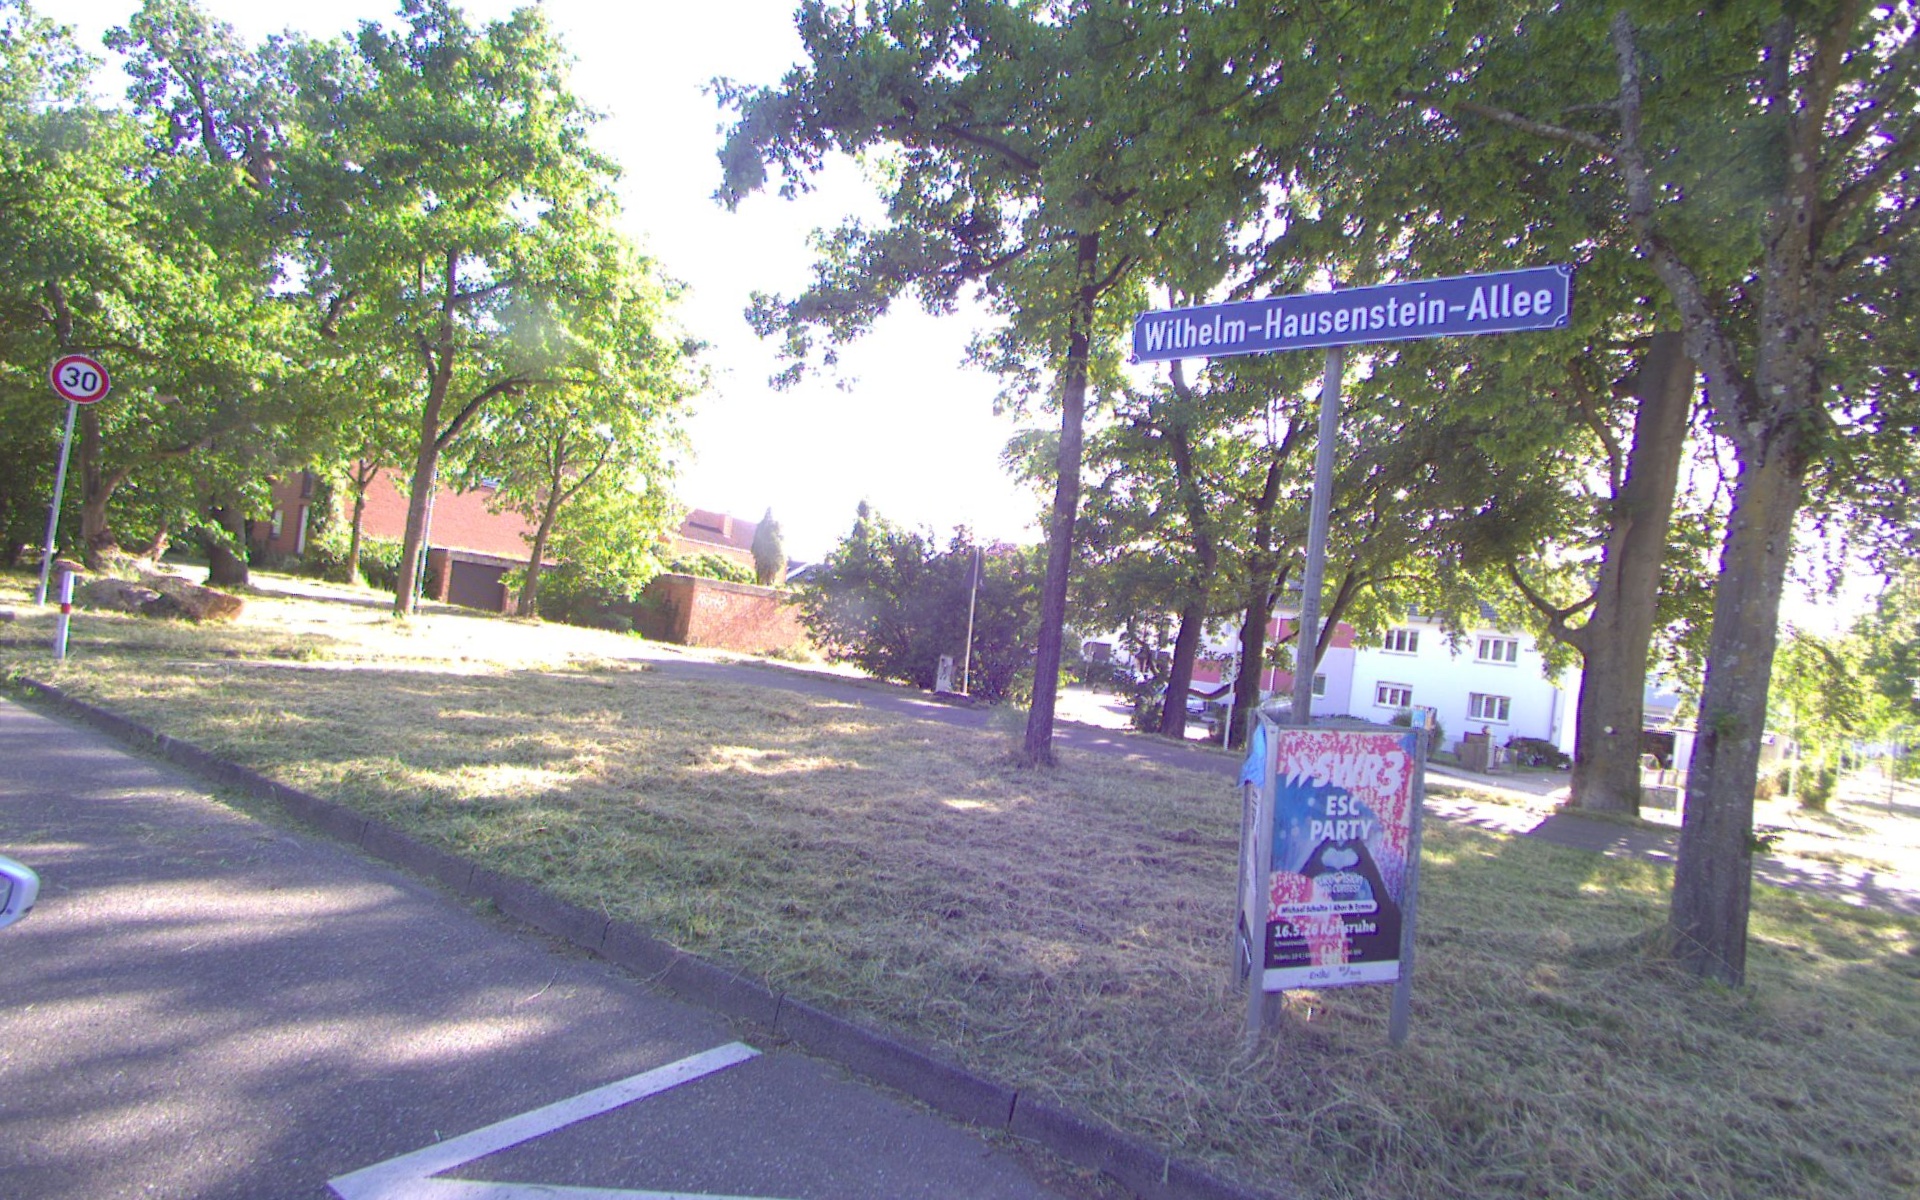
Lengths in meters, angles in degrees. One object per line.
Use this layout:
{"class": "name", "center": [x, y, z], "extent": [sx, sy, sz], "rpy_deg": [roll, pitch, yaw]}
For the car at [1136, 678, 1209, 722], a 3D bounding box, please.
{"class": "car", "center": [10.089, 4.743, 47.967], "extent": [1.514, 1.569, 3.160], "rpy_deg": [9, -2, -30]}
